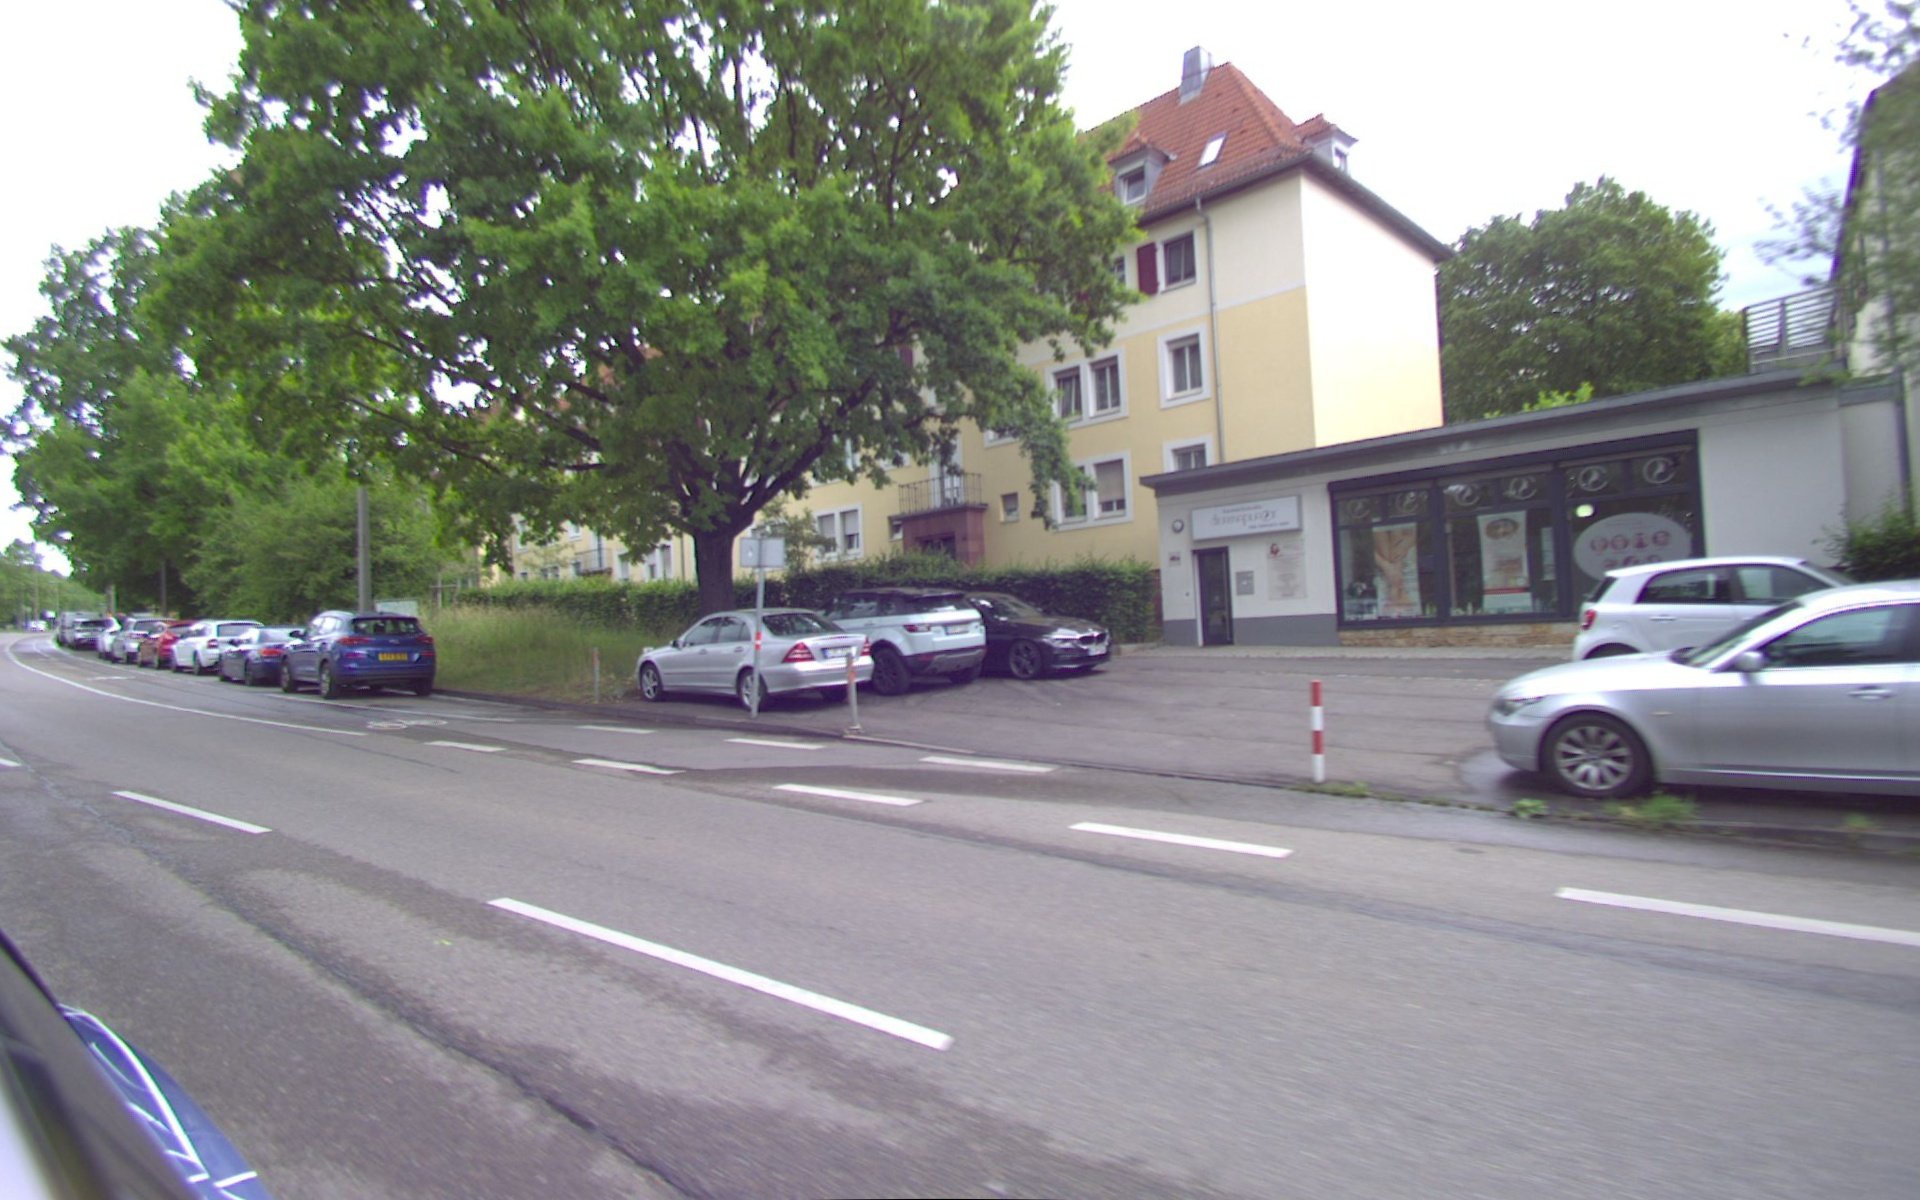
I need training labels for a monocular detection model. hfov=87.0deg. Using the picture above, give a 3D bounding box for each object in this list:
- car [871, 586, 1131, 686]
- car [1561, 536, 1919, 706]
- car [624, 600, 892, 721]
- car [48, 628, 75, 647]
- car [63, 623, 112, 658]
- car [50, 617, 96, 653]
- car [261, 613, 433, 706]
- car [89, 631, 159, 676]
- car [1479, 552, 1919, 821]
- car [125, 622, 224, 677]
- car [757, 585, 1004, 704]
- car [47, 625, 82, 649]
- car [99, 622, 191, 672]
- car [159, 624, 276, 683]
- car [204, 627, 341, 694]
[{"bbox_3d":[0.623,0.604,17.875,4.438,1.481,1.744,-2,2,41],"label":"car"},{"bbox_3d":[9.165,0.210,11.002,4.285,1.645,1.744,-2,0,40],"label":"car"},{"bbox_3d":[-3.190,0.845,15.373,4.392,1.547,1.742,-2,0,43],"label":"car"},{"bbox_3d":[-80.597,3.357,90.787,1.746,1.604,4.140,0,-2,-42],"label":"car"},{"bbox_3d":[-44.158,2.011,51.184,1.745,1.646,4.162,0,-1,-43],"label":"car"},{"bbox_3d":[-51.455,2.027,58.690,1.844,1.978,5.131,0,-1,-43],"label":"car"},{"bbox_3d":[-12.412,1.171,20.353,4.533,1.625,1.697,-3,-2,42],"label":"car"},{"bbox_3d":[-32.555,2.041,39.344,1.746,1.585,4.763,1,-1,-44],"label":"car"},{"bbox_3d":[6.376,0.517,6.906,4.750,1.645,1.743,-2,0,41],"label":"car"},{"bbox_3d":[-24.716,1.500,31.791,4.369,1.585,1.697,-1,0,42],"label":"car"},{"bbox_3d":[-1.399,0.684,16.621,4.000,1.645,1.743,-2,2,43],"label":"car"},{"bbox_3d":[-61.508,2.519,69.491,1.653,1.576,4.285,0,-2,-43],"label":"car"},{"bbox_3d":[-28.508,1.589,35.370,4.119,1.585,1.848,-1,0,42],"label":"car"},{"bbox_3d":[-20.817,1.435,28.292,4.755,1.470,1.697,-1,0,42],"label":"car"},{"bbox_3d":[-16.341,1.366,23.974,4.337,1.400,1.697,-2,-1,42],"label":"car"}]
